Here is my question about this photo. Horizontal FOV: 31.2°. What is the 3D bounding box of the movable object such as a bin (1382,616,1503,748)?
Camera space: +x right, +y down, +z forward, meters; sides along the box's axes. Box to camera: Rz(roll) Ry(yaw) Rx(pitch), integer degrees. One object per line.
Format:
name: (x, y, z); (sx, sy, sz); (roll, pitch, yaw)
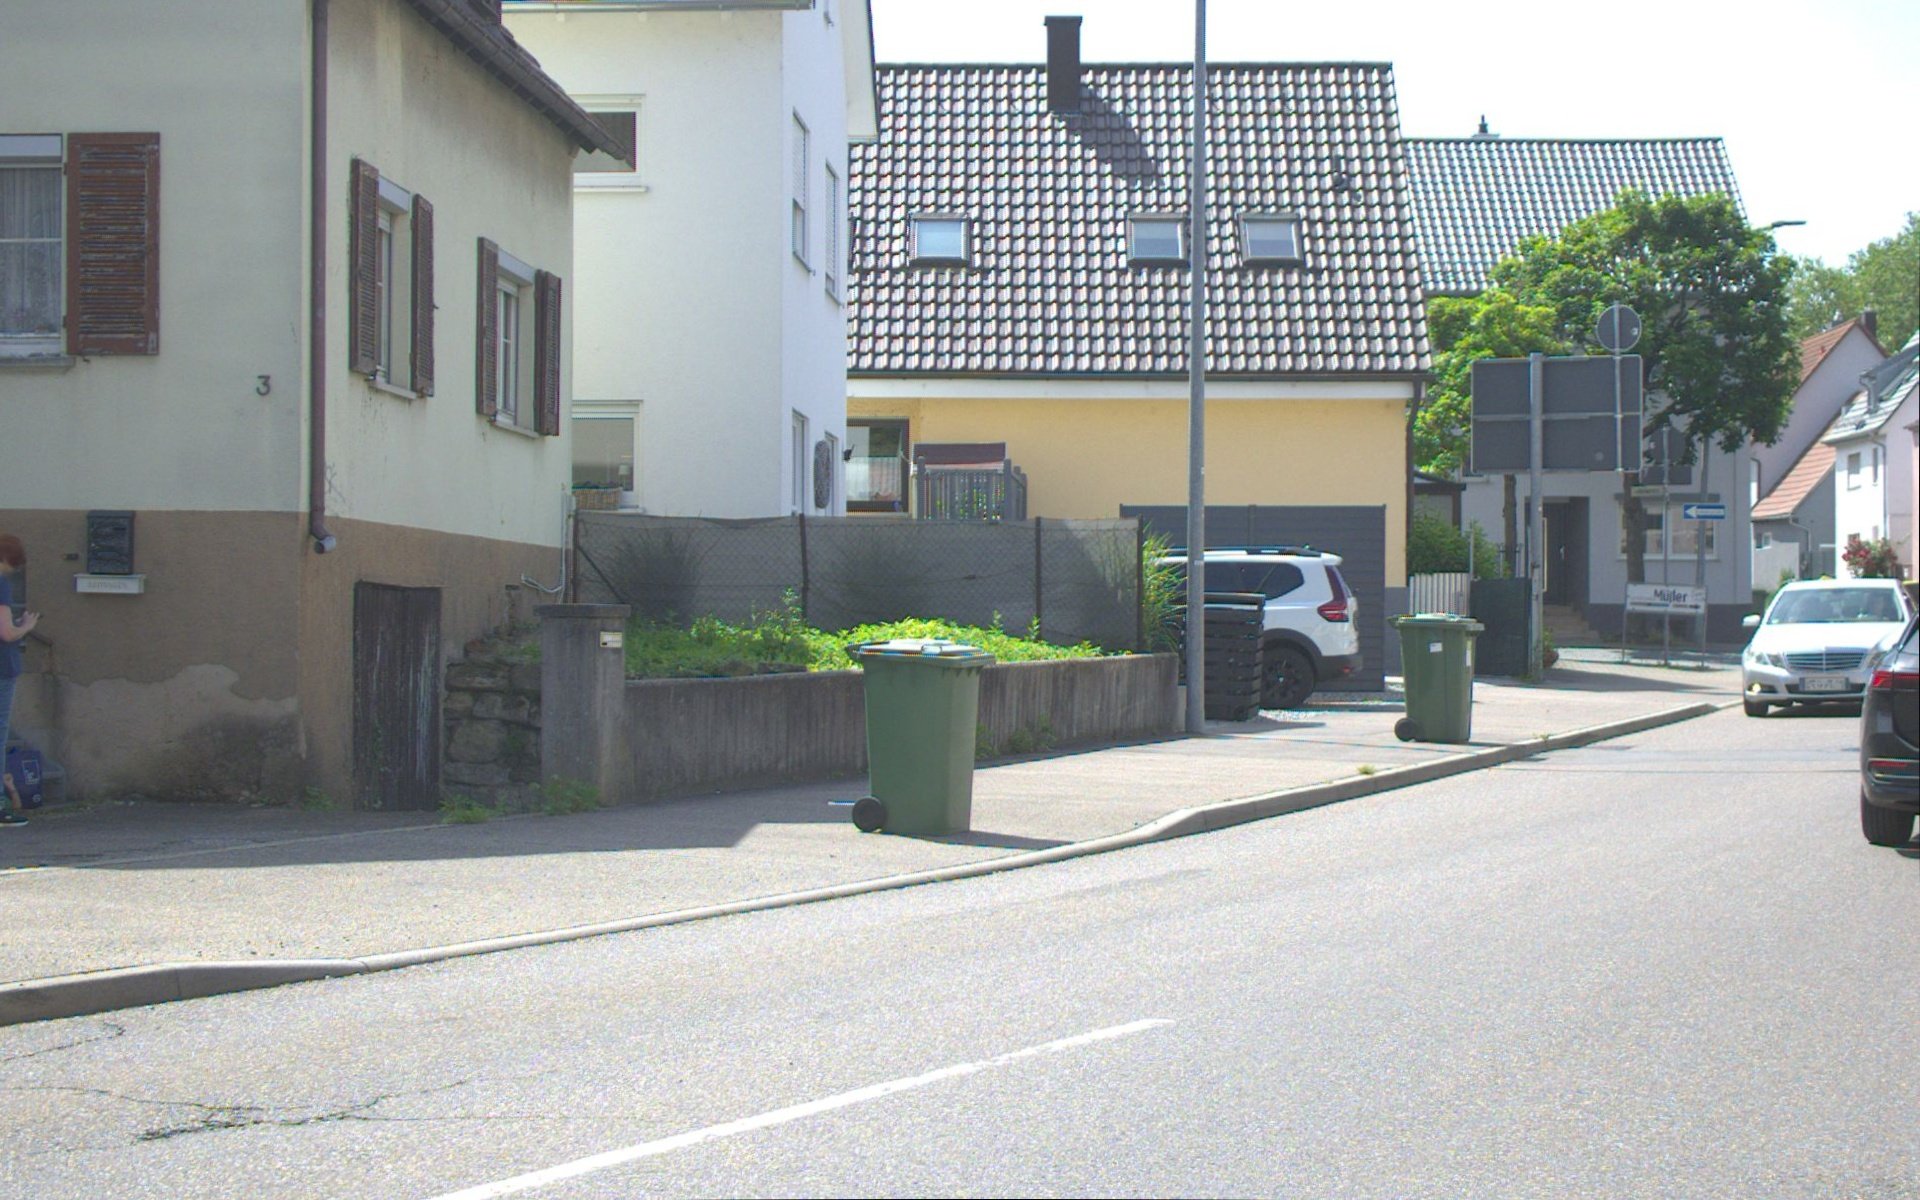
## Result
movable object such as a bin: (4.092, 0.683, 29.125); (0.826, 1.073, 0.817); (1, 1, 22)

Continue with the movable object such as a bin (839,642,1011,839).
movable object such as a bin: (-0.193, 0.773, 19.231); (0.792, 1.054, 0.650); (0, 0, 18)

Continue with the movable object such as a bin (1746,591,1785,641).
movable object such as a bin: (17.173, 0.336, 73.290); (0.754, 1.056, 0.679); (1, 1, 9)

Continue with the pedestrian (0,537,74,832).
pedestrian: (-5.337, 0.441, 18.703); (0.777, 1.568, 0.627); (1, 1, 13)

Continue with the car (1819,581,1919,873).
car: (6.062, 0.629, 18.716); (1.844, 1.415, 4.676); (1, 1, 24)

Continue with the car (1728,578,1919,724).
car: (9.832, 0.535, 37.831); (1.957, 1.481, 4.454); (-1, 0, 22)

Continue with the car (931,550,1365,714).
car: (2.034, 0.328, 36.520); (4.403, 1.617, 1.999); (1, 0, 9)
